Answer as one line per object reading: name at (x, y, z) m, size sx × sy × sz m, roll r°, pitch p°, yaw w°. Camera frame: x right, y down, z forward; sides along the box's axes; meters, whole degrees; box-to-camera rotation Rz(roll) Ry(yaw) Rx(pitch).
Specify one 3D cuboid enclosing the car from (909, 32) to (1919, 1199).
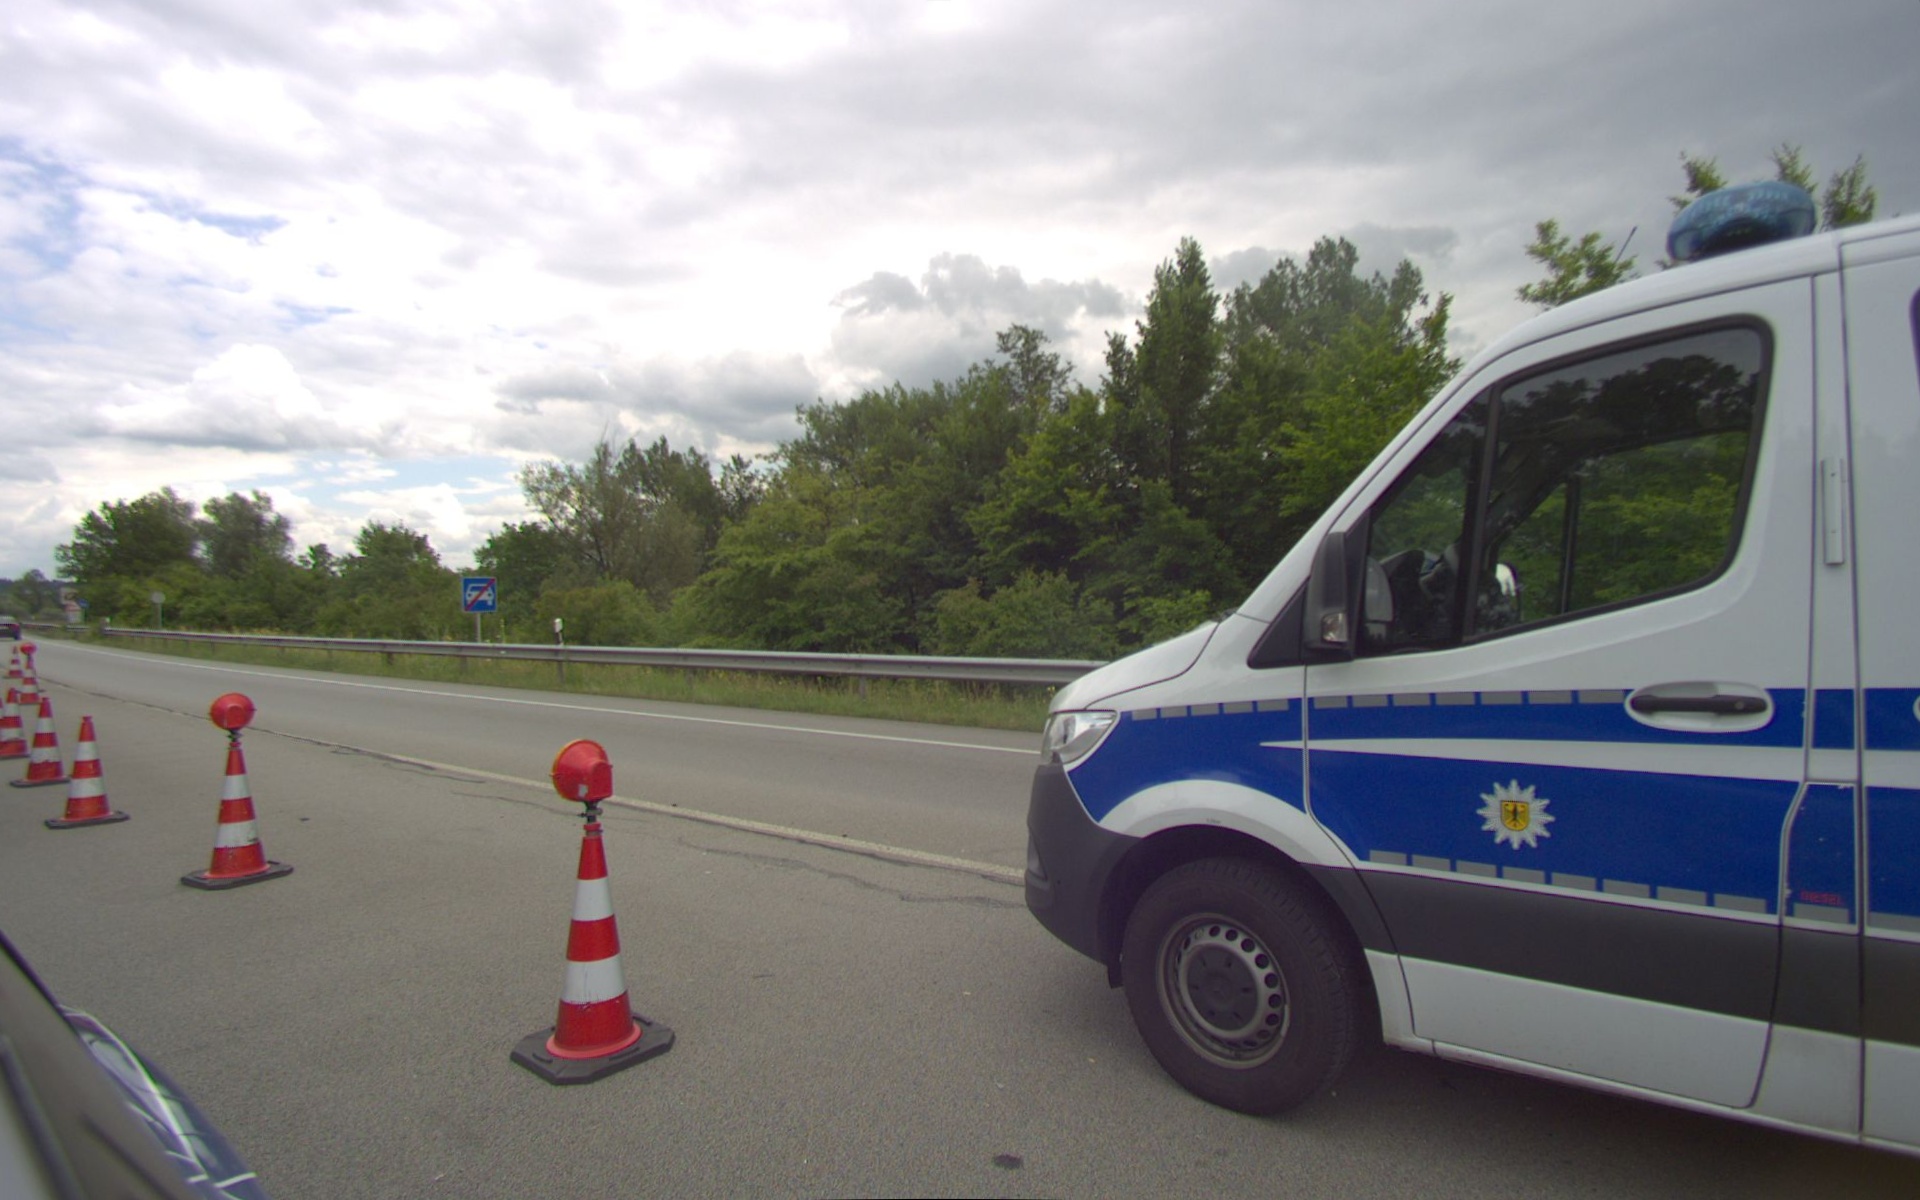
car at (2.514, 0.164, 2.647) m, size 5.272 × 2.482 × 2.010 m, roll -1°, pitch -1°, yaw 38°

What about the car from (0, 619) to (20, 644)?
car at (-58.321, 1.915, 61.364) m, size 4.338 × 1.447 × 1.690 m, roll -1°, pitch -1°, yaw 44°
